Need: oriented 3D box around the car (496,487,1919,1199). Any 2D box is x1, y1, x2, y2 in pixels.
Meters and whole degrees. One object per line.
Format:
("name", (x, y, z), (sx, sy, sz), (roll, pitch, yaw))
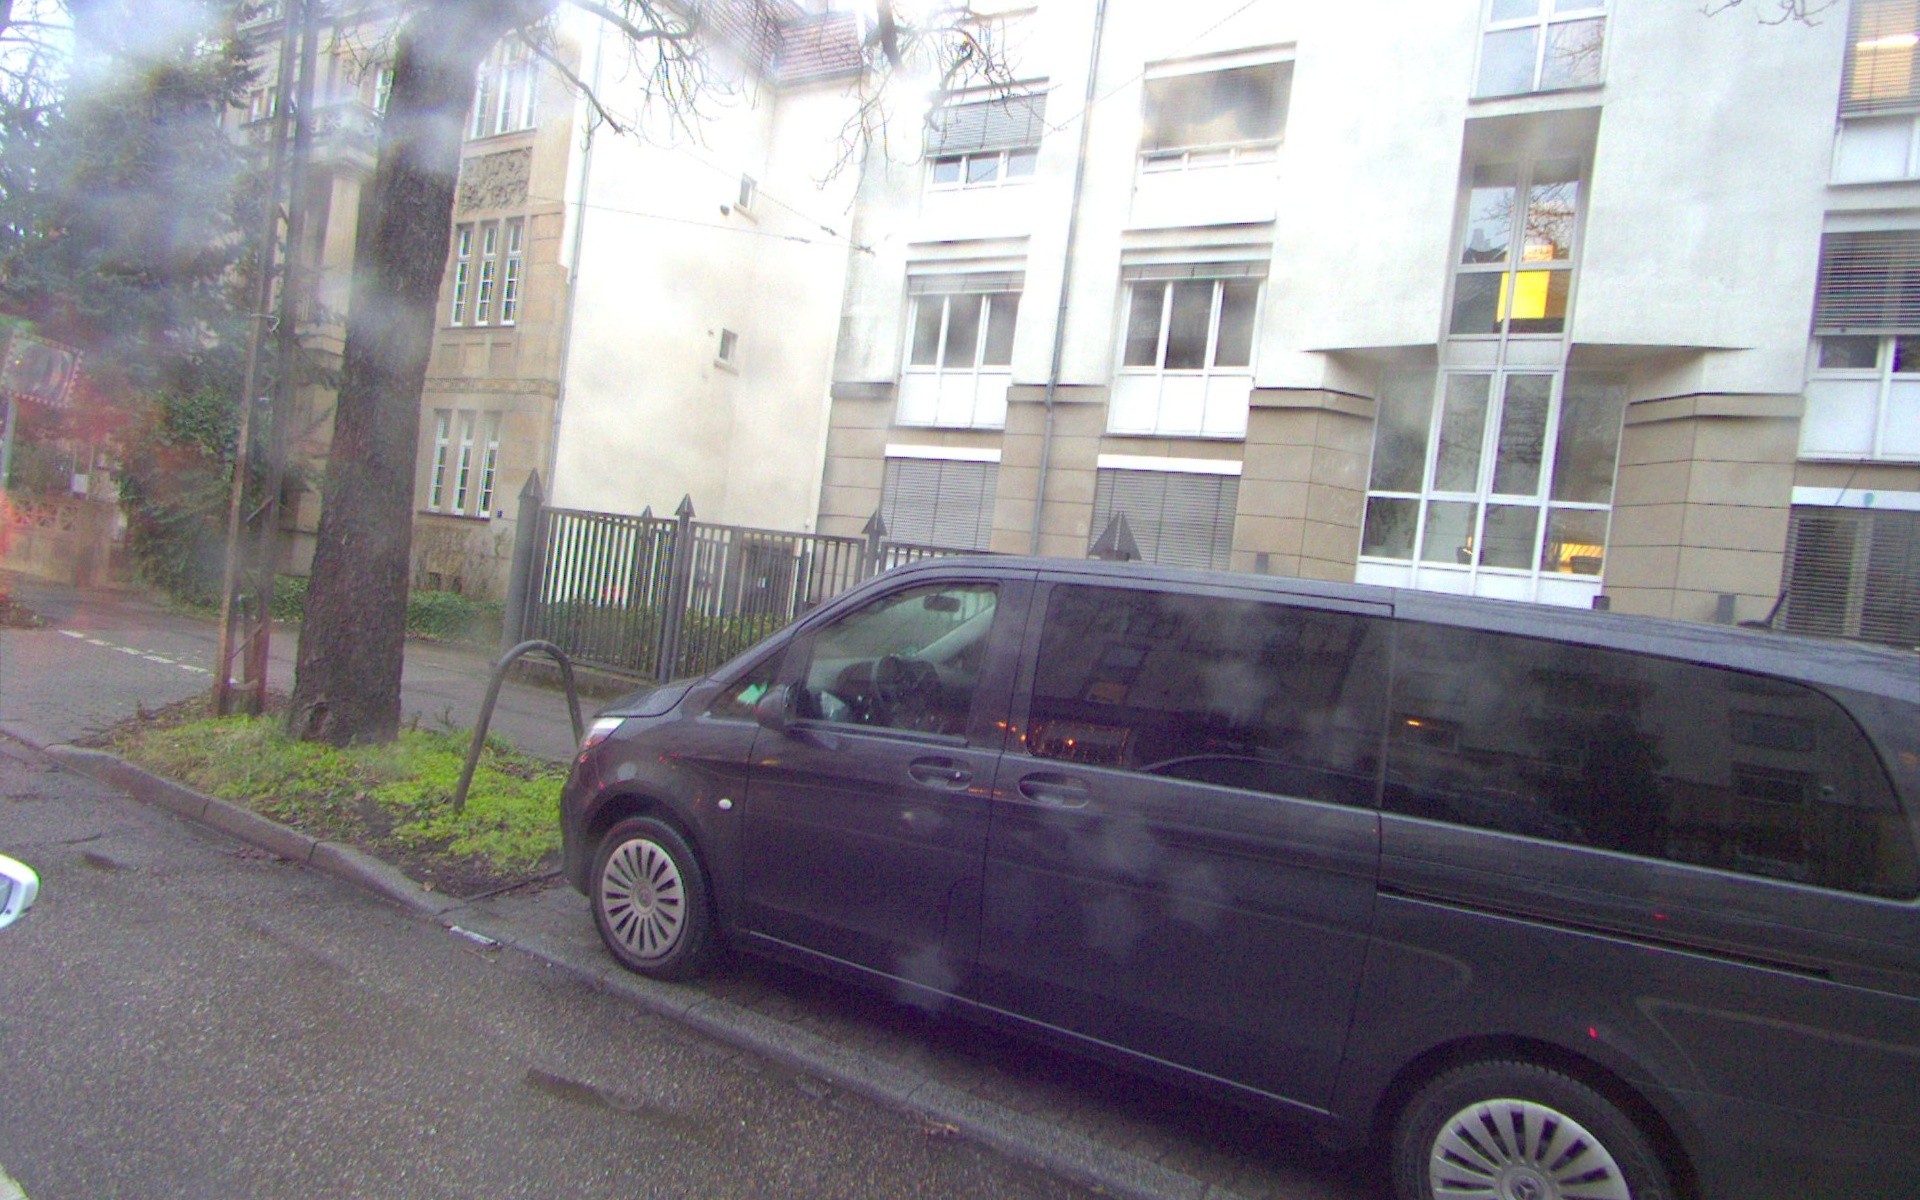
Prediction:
("car", (0.710, 0.792, 4.087), (4.877, 1.899, 2.035), (7, 0, 28))
